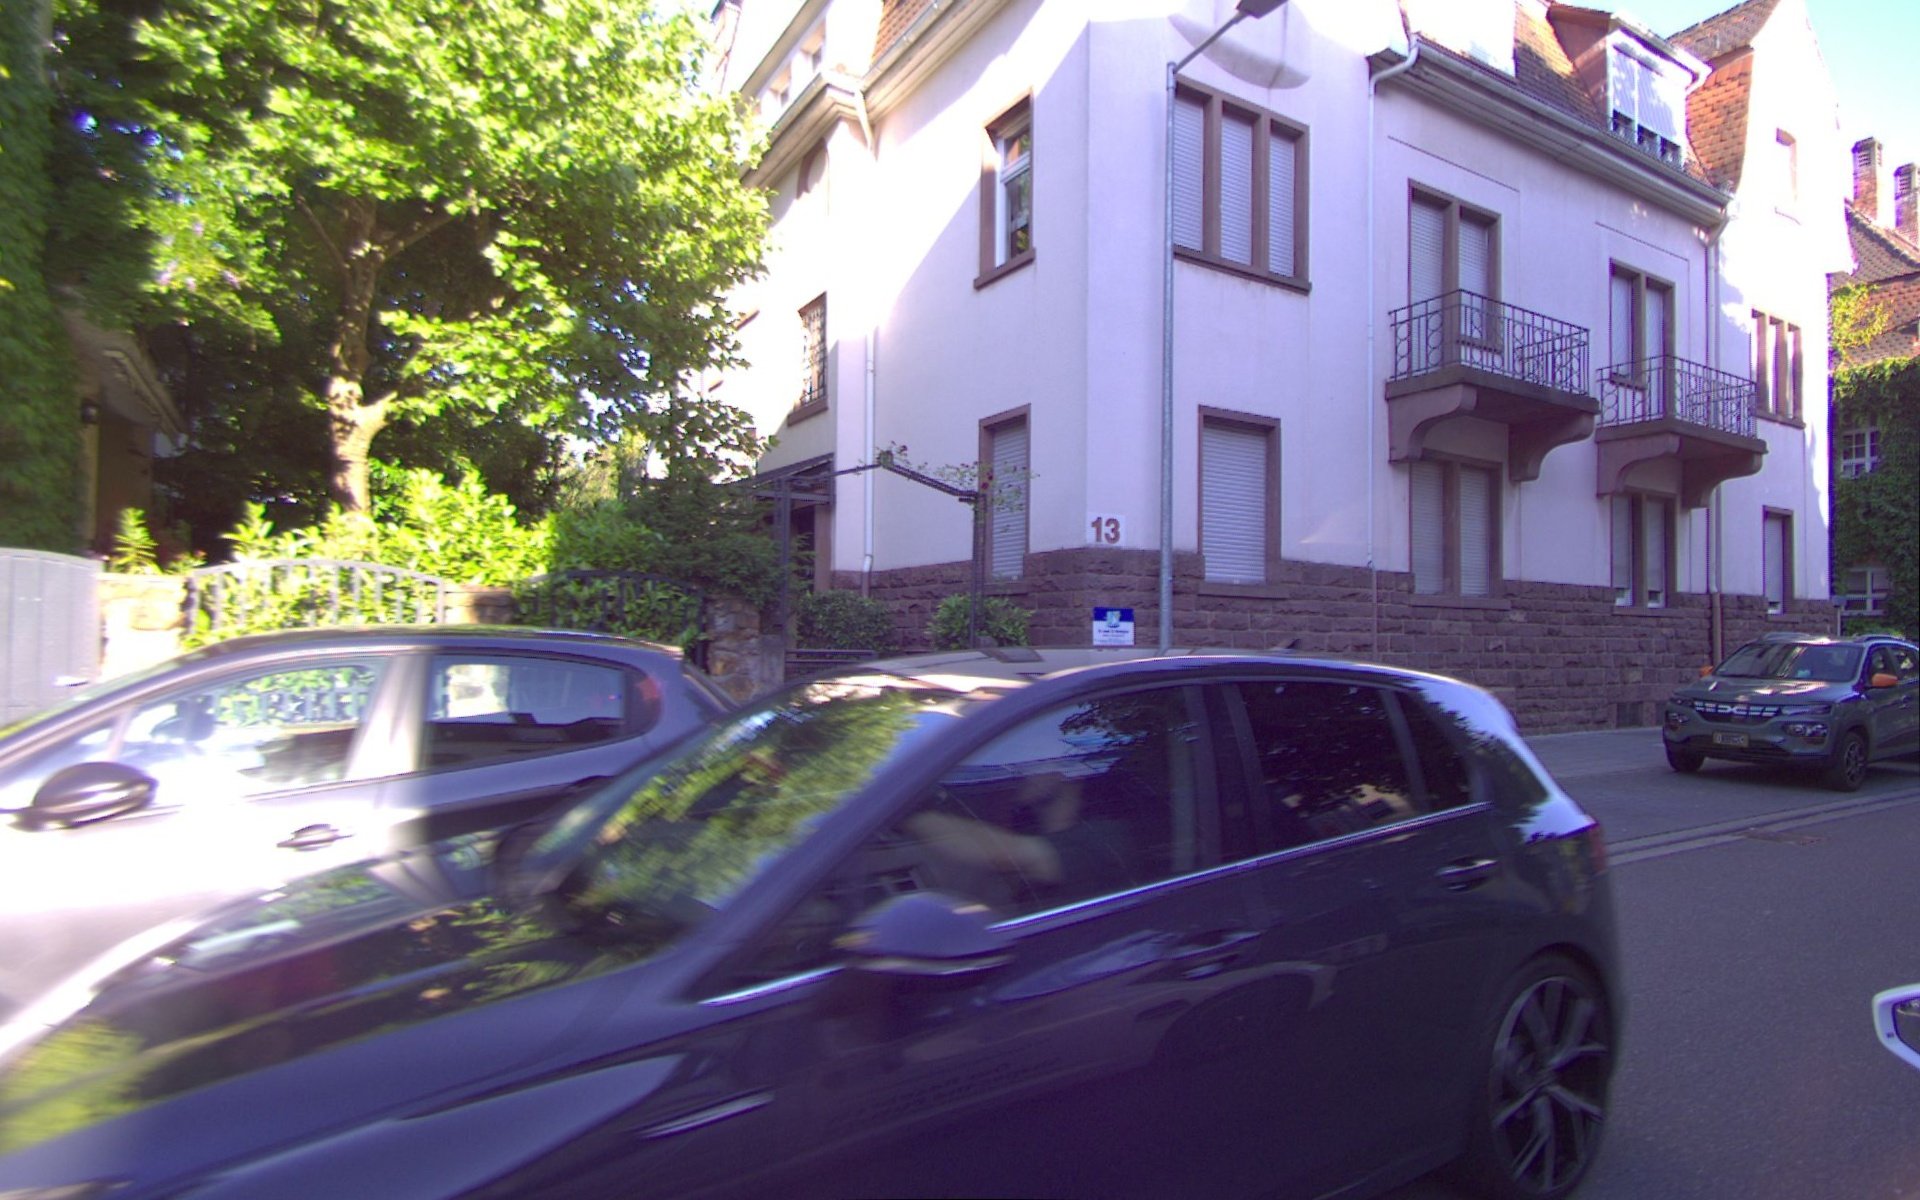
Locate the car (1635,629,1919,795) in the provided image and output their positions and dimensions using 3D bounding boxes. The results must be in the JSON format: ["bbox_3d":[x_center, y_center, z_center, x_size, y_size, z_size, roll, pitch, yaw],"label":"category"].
[{"bbox_3d":[9.233,1.097,10.974,3.720,1.505,1.645,1,-1,-30],"label":"car"}]

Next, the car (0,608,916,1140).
[{"bbox_3d":[-2.306,0.787,3.944,3.958,1.466,1.645,1,-1,-30],"label":"car"}]

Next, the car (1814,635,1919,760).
[{"bbox_3d":[12.995,1.227,13.231,3.803,1.466,1.644,2,-1,-33],"label":"car"}]

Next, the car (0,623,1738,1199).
[{"bbox_3d":[0.181,0.827,2.753,3.954,1.467,1.763,1,-3,-31],"label":"car"}]
